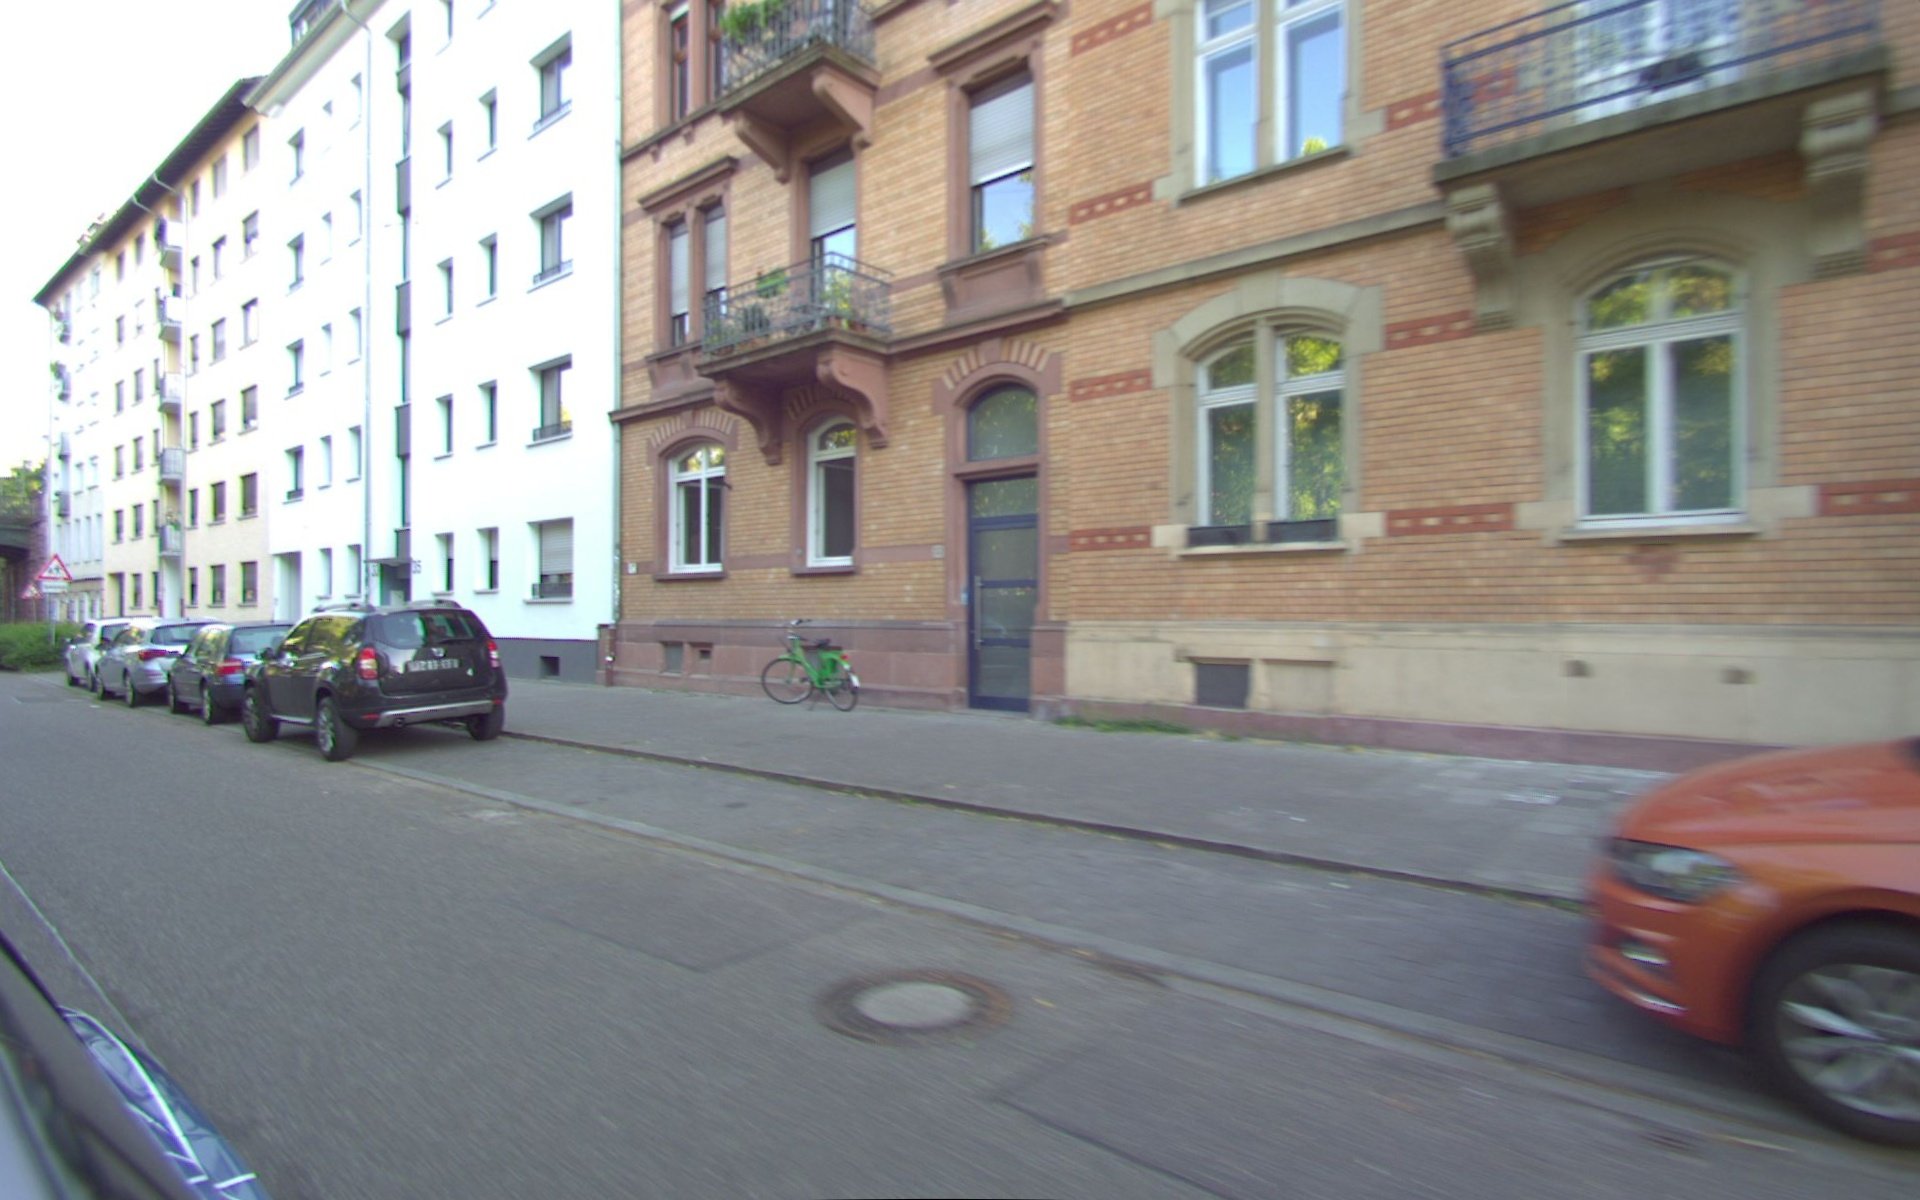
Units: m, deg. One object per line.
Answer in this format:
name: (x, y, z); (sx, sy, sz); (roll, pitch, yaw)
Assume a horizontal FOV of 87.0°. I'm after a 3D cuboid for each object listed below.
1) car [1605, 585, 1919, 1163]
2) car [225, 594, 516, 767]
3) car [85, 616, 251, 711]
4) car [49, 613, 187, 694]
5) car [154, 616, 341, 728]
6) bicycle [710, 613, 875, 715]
car: (4.060, 0.691, 2.487); (3.996, 1.475, 1.736); (-1, 1, 39)
car: (-7.179, 0.830, 12.147); (4.198, 1.719, 1.734); (-1, 0, 41)
car: (-14.688, 1.076, 18.684); (4.282, 1.482, 1.651); (-1, 2, 42)
car: (-18.457, 1.104, 22.126); (3.998, 1.519, 1.651); (-1, 2, 41)
car: (-11.175, 1.025, 15.778); (4.000, 1.462, 1.598); (-1, 0, 43)
bicycle: (-2.264, 0.812, 13.393); (2.513, 1.216, 0.729); (-2, -1, 42)
